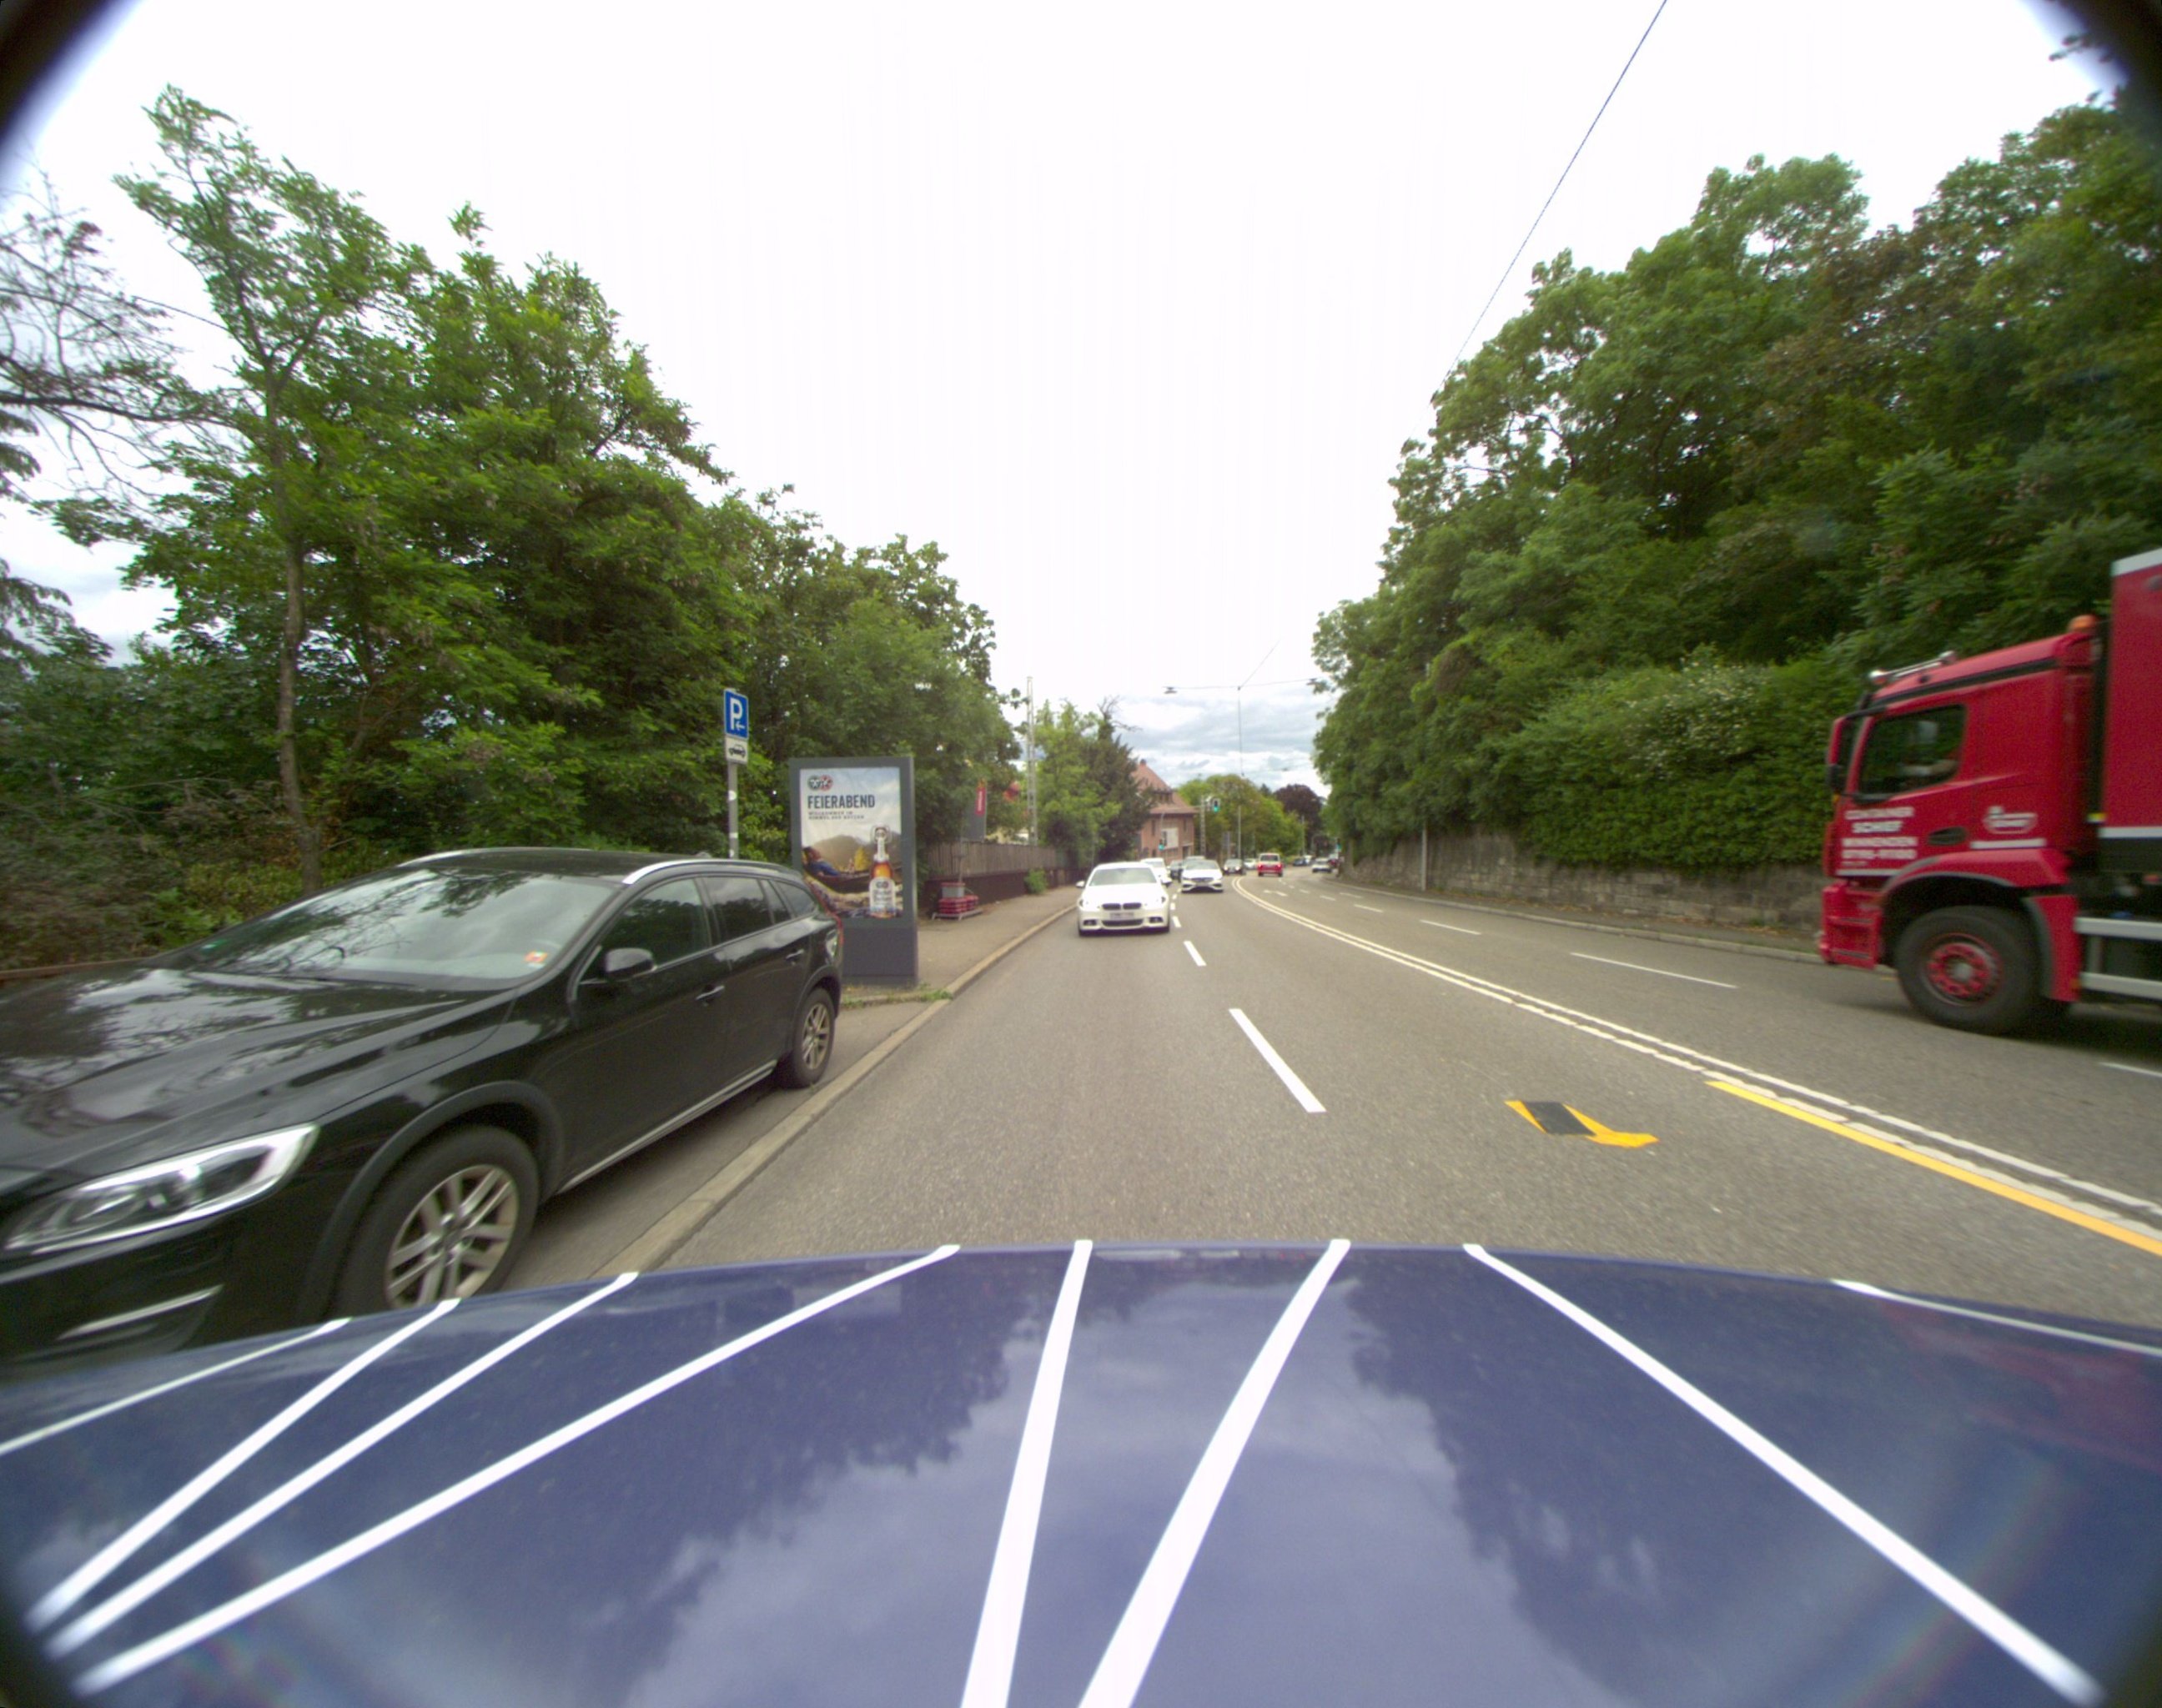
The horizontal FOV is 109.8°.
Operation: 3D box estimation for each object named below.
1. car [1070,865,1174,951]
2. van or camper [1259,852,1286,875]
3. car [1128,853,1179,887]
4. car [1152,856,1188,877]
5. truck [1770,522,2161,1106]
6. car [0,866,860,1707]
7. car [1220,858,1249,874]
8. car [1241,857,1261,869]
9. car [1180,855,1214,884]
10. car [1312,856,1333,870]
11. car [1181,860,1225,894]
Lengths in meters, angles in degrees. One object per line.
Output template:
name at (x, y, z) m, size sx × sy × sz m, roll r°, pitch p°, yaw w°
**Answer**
car at (0.899, 1.002, 16.058) m, size 1.822 × 1.462 × 4.786 m, roll -2°, pitch -1°, yaw 4°
van or camper at (16.336, 0.747, 64.578) m, size 1.892 × 1.867 × 4.771 m, roll 0°, pitch 0°, yaw 18°
car at (4.031, 0.831, 41.627) m, size 1.955 × 1.761 × 4.006 m, roll 0°, pitch 0°, yaw 18°
car at (6.642, 0.901, 56.378) m, size 1.996 × 1.396 × 4.005 m, roll -1°, pitch 0°, yaw 16°
truck at (8.227, -0.242, 2.548) m, size 2.952 × 3.676 × 9.919 m, roll 1°, pitch 0°, yaw 1°
car at (-2.750, 0.894, 3.604) m, size 1.769 × 1.513 × 4.395 m, roll 3°, pitch 0°, yaw 4°
car at (13.618, 1.048, 67.306) m, size 1.832 × 1.369 × 4.006 m, roll 0°, pitch 0°, yaw 21°
car at (23.526, 1.223, 105.155) m, size 1.676 × 1.453 × 4.373 m, roll 2°, pitch 1°, yaw 25°
car at (7.162, 0.941, 47.053) m, size 1.957 × 1.730 × 4.003 m, roll 0°, pitch 0°, yaw 8°
car at (26.315, 0.975, 82.599) m, size 1.784 × 1.458 × 4.108 m, roll 2°, pitch 1°, yaw 23°
car at (5.438, 0.966, 33.575) m, size 1.801 × 1.382 × 3.530 m, roll -1°, pitch 0°, yaw 10°
